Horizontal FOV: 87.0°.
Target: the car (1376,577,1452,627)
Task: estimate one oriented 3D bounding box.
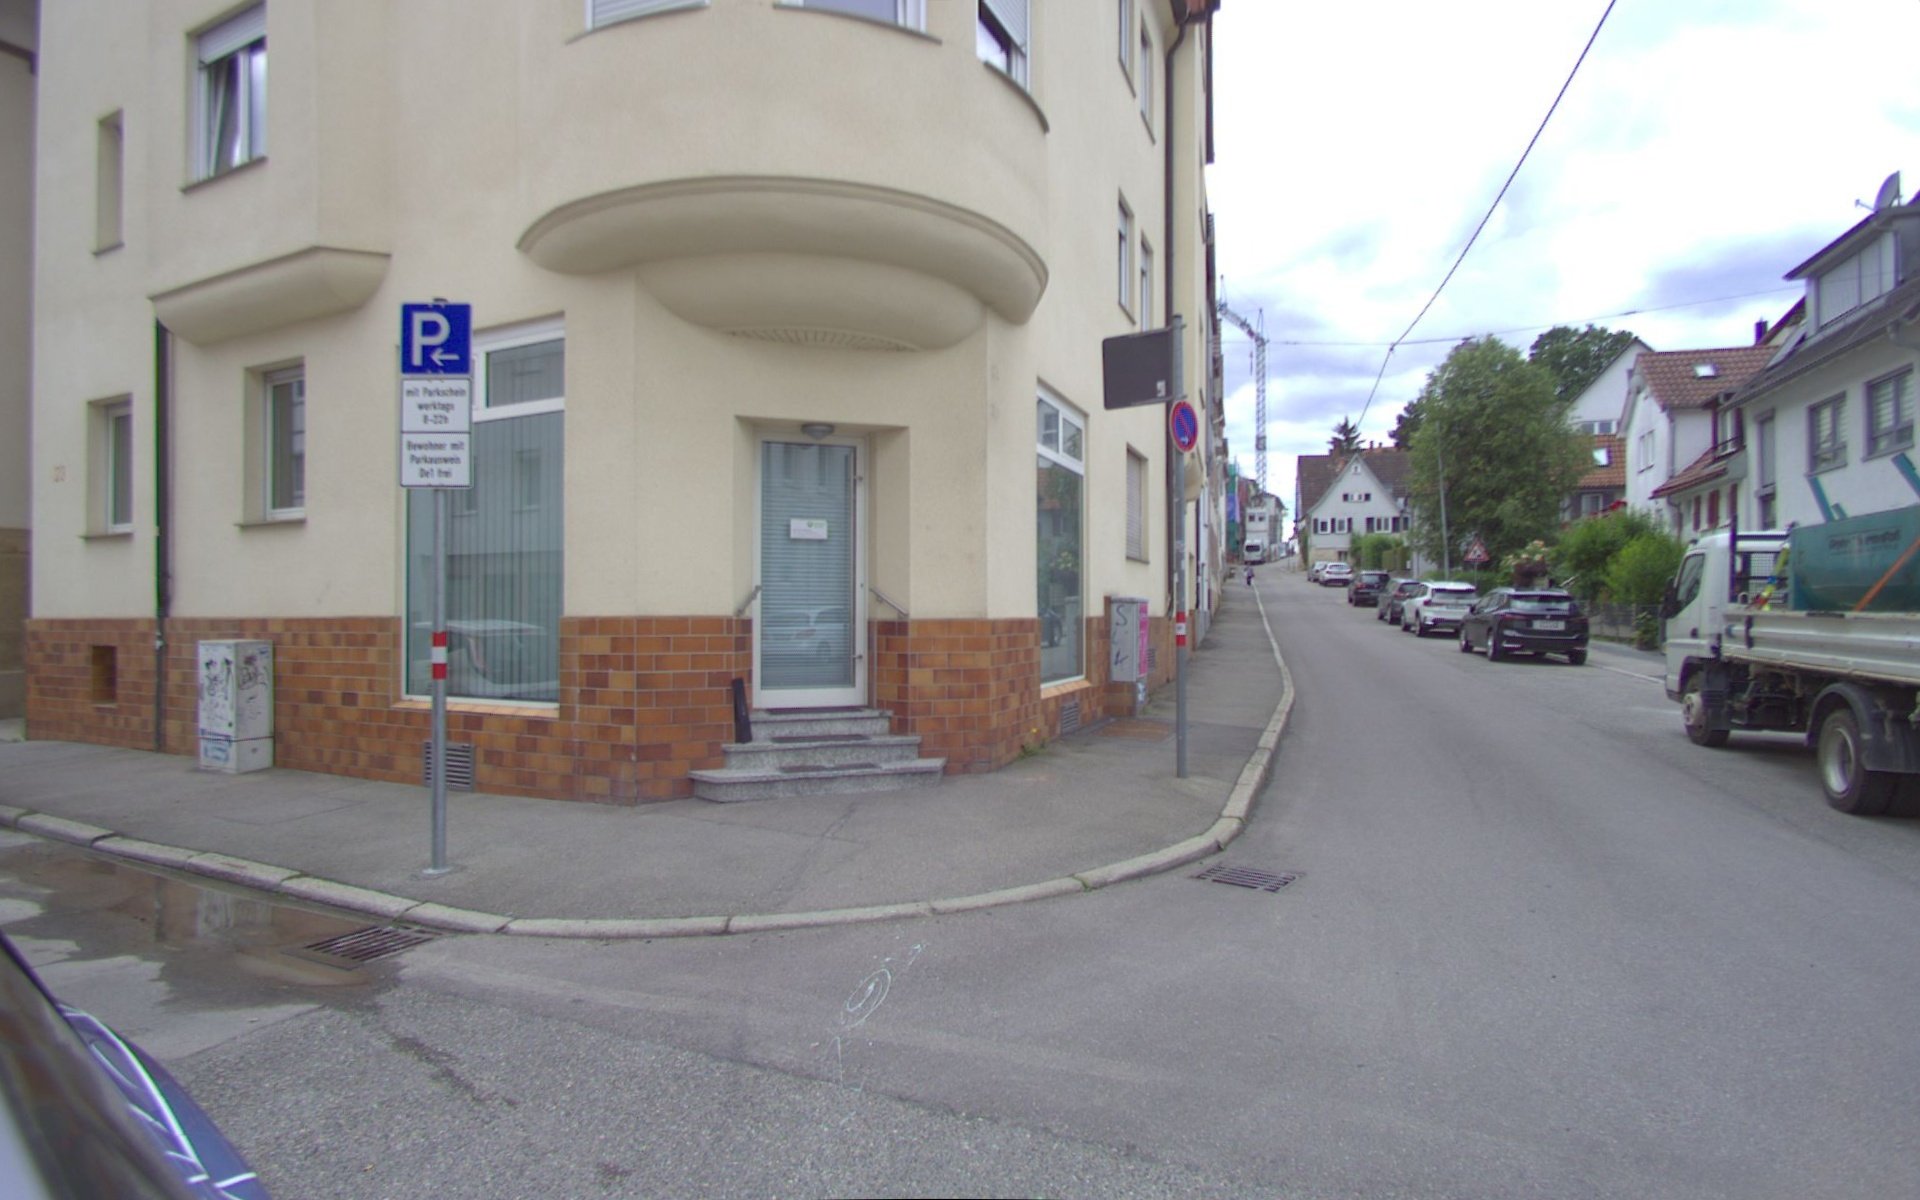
[{"bbox_3d":[16.485,0.022,36.931,1.839,1.663,3.928,1,2,15],"label":"car"}]

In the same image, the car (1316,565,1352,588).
[{"bbox_3d":[24.244,-1.529,65.717,1.839,1.460,3.928,1,2,15],"label":"car"}]

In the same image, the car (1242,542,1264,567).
[{"bbox_3d":[31.803,-4.944,109.924,2.175,2.665,5.798,1,2,15],"label":"car"}]

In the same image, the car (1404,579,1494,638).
[{"bbox_3d":[14.779,0.231,30.776,1.840,1.663,3.924,1,0,17],"label":"car"}]

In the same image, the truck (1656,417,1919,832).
[{"bbox_3d":[7.792,0.189,7.960,2.301,2.571,6.245,1,0,20],"label":"truck"}]

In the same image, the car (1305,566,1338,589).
[{"bbox_3d":[25.561,-1.626,71.681,1.839,1.460,3.928,1,3,15],"label":"car"}]

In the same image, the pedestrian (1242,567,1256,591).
[{"bbox_3d":[18.899,-1.361,66.109,0.747,1.500,0.566,-1,0,3],"label":"pedestrian"}]

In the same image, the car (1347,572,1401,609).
[{"bbox_3d":[19.592,-0.503,48.060,1.839,1.663,3.928,1,2,15],"label":"car"}]

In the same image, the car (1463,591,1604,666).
[{"bbox_3d":[12.468,0.559,22.273,1.840,1.474,3.924,1,0,17],"label":"car"}]
